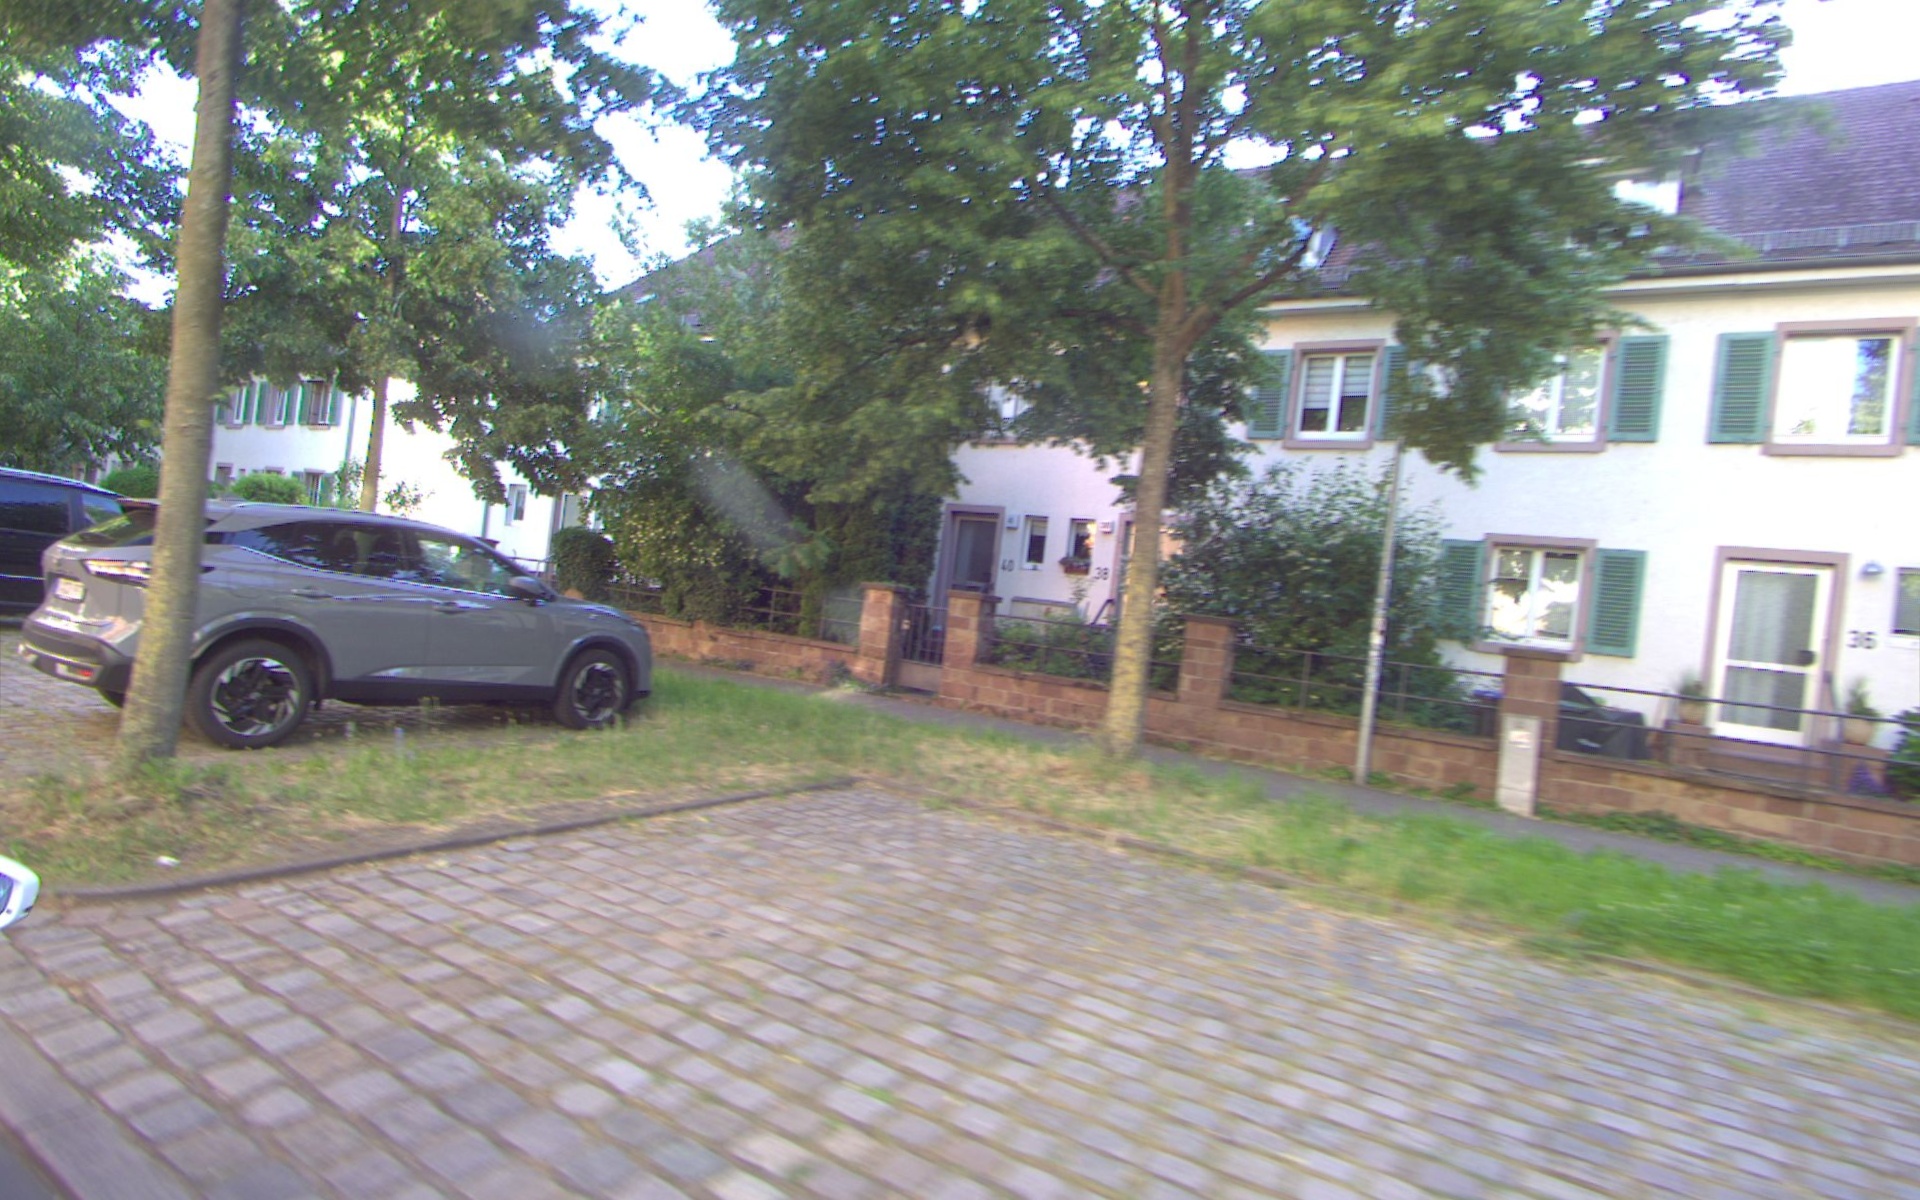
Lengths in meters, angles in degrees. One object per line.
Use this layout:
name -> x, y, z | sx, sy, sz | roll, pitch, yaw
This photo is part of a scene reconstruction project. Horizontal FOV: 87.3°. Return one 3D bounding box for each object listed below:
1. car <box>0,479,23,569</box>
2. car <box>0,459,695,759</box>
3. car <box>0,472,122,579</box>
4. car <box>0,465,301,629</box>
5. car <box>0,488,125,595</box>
car -> -19.446, -1.545, 17.270 | 1.780, 1.655, 4.545 | 6, 2, 26
car -> -4.483, 0.056, 8.053 | 1.844, 1.655, 4.478 | 6, 2, 30
car -> -16.585, -1.346, 16.321 | 1.663, 1.655, 4.270 | 7, 2, 34
car -> -10.636, -0.639, 11.681 | 1.876, 1.699, 4.580 | 7, 2, 33
car -> -14.635, -0.949, 14.457 | 1.562, 1.473, 3.723 | 7, 2, 31
